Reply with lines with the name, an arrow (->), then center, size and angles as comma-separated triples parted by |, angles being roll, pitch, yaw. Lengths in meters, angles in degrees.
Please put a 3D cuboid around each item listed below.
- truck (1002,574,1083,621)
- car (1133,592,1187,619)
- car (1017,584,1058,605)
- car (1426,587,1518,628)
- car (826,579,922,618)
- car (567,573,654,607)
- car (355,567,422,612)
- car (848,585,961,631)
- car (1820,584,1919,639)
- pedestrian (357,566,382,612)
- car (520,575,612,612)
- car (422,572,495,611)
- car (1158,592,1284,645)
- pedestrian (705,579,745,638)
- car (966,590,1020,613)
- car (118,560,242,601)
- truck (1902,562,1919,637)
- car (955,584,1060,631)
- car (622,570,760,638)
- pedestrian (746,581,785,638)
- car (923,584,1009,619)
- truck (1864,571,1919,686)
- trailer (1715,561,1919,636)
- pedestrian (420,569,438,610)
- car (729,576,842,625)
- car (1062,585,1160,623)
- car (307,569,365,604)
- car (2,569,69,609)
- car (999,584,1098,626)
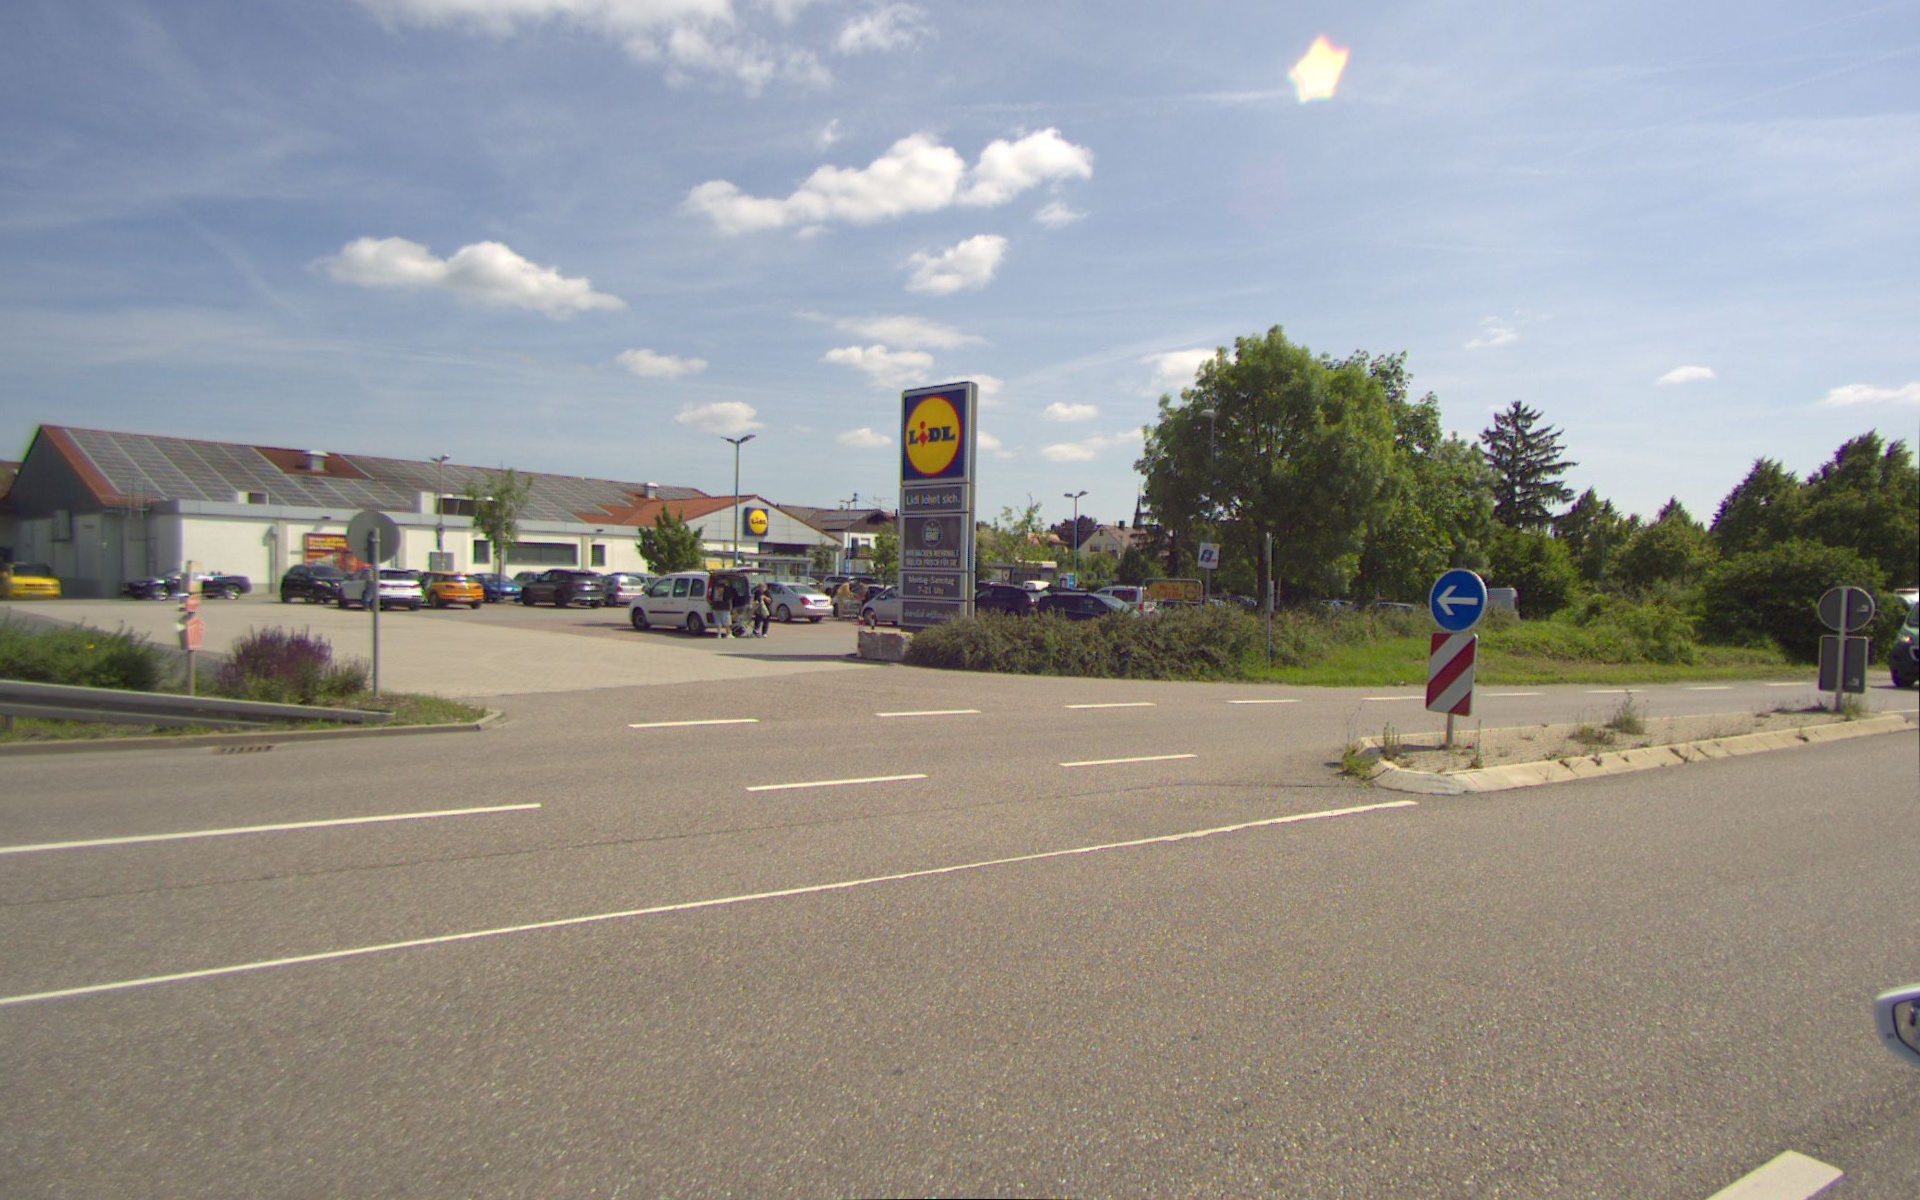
truck -> 4.487, -0.145, 54.751 | 3.933, 2.397, 1.994 | 2, 0, 34
car -> 13.342, 0.374, 66.780 | 1.883, 1.662, 3.984 | 2, 0, 38
car -> 6.930, -0.485, 89.226 | 1.867, 1.782, 3.987 | 2, 0, 35
car -> 30.401, 0.423, 59.727 | 4.525, 2.209, 1.992 | 2, 1, 38
car -> -3.723, -0.067, 43.073 | 3.937, 1.549, 1.772 | 2, 0, 38
car -> -16.263, -0.469, 46.658 | 3.933, 1.461, 1.880 | 2, 1, 35
car -> -21.616, -0.417, 37.937 | 1.753, 1.561, 3.957 | 0, 2, -37
car -> -2.108, 0.257, 37.727 | 4.082, 1.522, 1.775 | 3, 2, 39
car -> 48.197, 0.582, 52.498 | 2.081, 2.690, 5.989 | 2, 1, 10
pedestrian -> -20.912, -0.384, 35.574 | 0.496, 1.573, 0.517 | 2, 0, 5
car -> -17.261, -0.278, 43.947 | 3.933, 1.461, 1.880 | 2, 1, 35
car -> -20.424, -0.366, 40.838 | 1.870, 1.461, 3.955 | 1, 1, -39
car -> 9.114, 0.616, 35.253 | 3.942, 1.679, 1.685 | 2, 0, 42
pedestrian -> -6.513, 0.236, 27.836 | 0.692, 1.596, 0.807 | 2, 0, 33
car -> 2.432, 0.118, 73.824 | 1.850, 1.562, 4.242 | 2, 0, 37
car -> -33.435, -0.810, 43.146 | 1.722, 1.634, 3.867 | 1, 0, 31
truck -> 54.137, 0.005, 53.059 | 2.750, 4.116, 5.829 | 0, 1, -13
car -> 1.916, 0.274, 41.415 | 3.940, 1.697, 1.903 | 3, 2, 40
car -> -8.039, 0.089, 29.871 | 4.102, 1.836, 1.873 | 2, 1, 38
pedestrian -> -5.594, 0.268, 28.902 | 0.692, 1.596, 0.807 | 2, 0, 33
car -> 0.266, 0.075, 48.425 | 3.941, 1.549, 1.770 | 2, 0, 42
truck -> 23.011, 0.647, 22.234 | 6.265, 2.407, 2.234 | 1, 1, -26
trailer -> 52.585, -0.134, 59.661 | 2.750, 4.116, 13.690 | 0, 1, -14
pedestrian -> -20.502, -0.413, 38.772 | 0.512, 1.573, 0.500 | 2, 0, -37
car -> -6.773, -0.006, 38.860 | 4.354, 1.698, 1.858 | 2, 1, 38
car -> 7.471, 0.186, 49.697 | 4.354, 1.717, 1.994 | 1, 0, 34
car -> -26.035, -0.566, 41.863 | 1.702, 1.328, 3.957 | 1, 2, -37
car -> -43.960, -0.533, 47.741 | 4.325, 1.834, 1.989 | 2, 1, 42
car -> 3.898, 0.222, 44.518 | 3.940, 1.711, 1.917 | 2, 0, 40
